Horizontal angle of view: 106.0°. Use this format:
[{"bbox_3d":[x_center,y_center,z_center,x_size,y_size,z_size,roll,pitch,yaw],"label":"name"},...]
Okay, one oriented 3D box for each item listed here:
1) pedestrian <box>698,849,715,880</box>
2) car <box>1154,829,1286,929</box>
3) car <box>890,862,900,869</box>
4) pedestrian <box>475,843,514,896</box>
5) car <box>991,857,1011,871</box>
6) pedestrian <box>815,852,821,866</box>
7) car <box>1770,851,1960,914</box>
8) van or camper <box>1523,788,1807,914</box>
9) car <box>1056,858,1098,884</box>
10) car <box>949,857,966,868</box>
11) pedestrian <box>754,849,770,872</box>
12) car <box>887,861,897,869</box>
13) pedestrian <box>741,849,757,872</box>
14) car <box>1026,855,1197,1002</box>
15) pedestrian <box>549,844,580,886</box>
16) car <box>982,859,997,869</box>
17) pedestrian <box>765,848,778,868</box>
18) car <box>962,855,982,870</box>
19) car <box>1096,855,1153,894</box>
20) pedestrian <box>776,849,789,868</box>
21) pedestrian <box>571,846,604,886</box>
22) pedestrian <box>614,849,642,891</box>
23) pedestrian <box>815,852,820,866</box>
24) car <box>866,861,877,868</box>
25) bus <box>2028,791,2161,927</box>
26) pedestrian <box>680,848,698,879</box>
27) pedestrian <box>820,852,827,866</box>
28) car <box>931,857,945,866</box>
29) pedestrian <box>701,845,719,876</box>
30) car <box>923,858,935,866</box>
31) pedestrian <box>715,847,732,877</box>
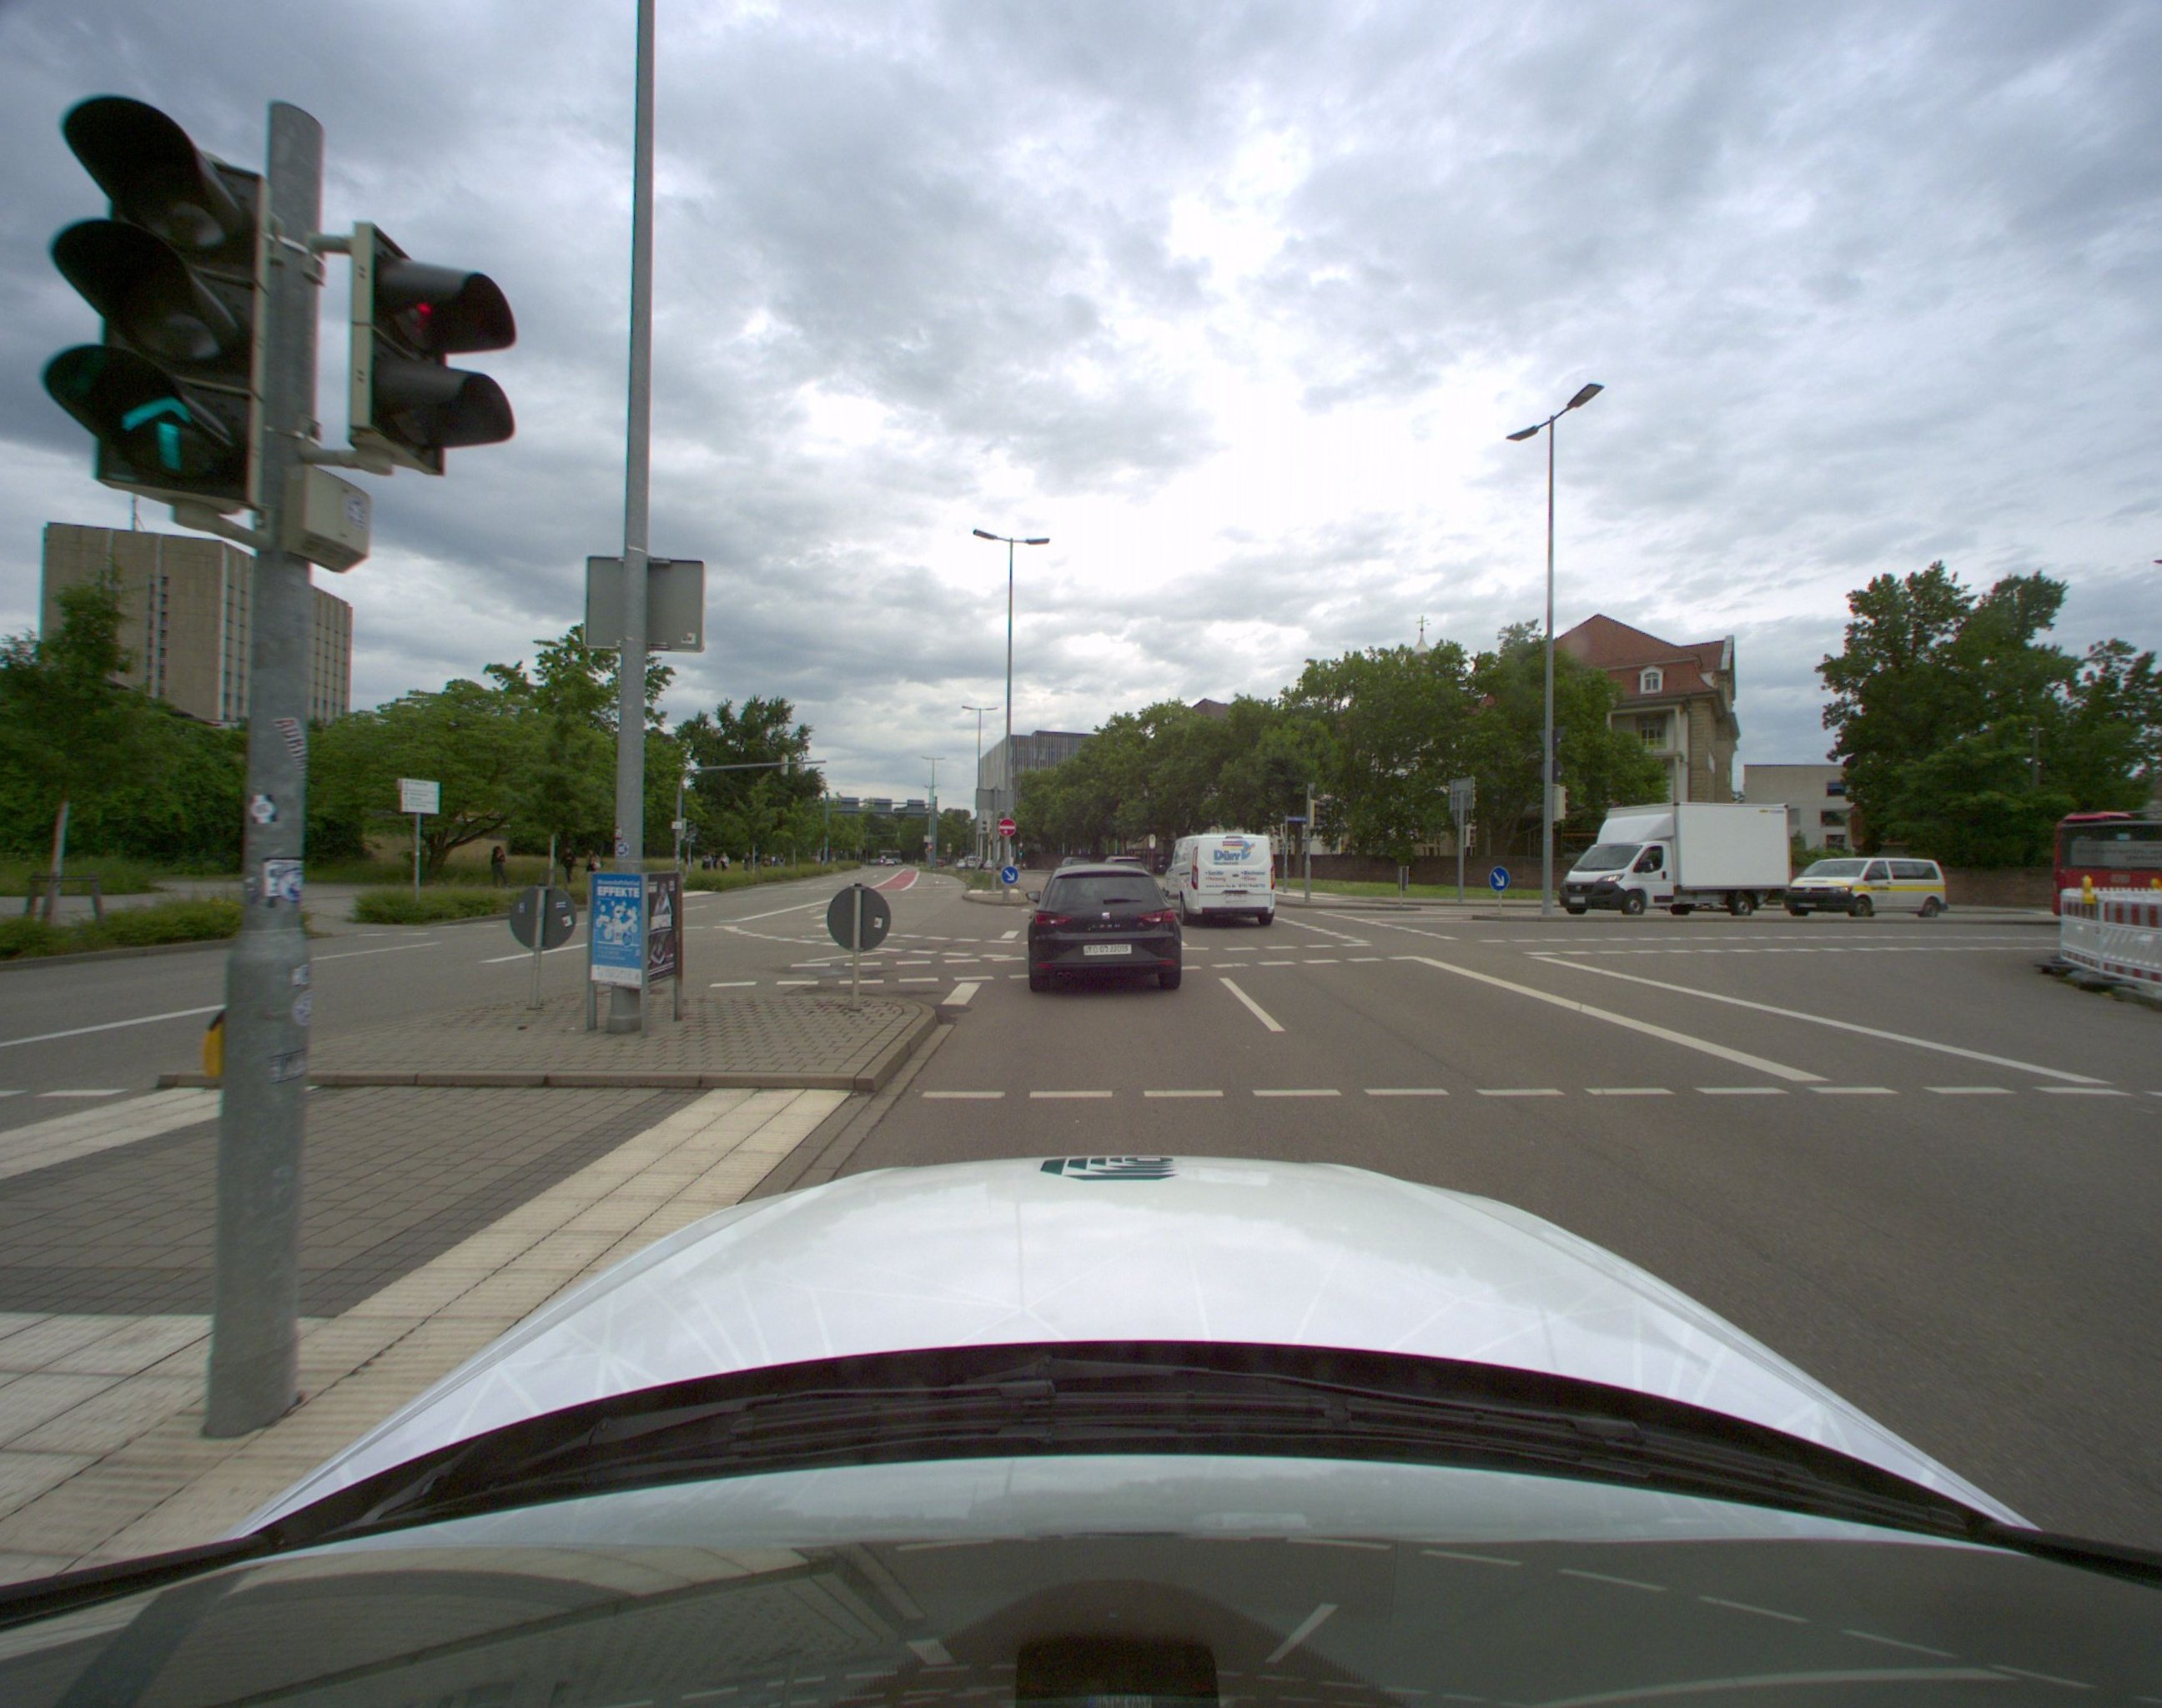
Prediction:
[{"bbox_3d":[-22.616,0.616,49.165,0.712,1.870,0.756,1,0,-5],"label":"pedestrian"},{"bbox_3d":[3.081,0.517,19.201,1.989,2.019,5.025,1,0,-3],"label":"car"},{"bbox_3d":[-45.825,2.816,200.576,2.001,1.780,3.971,1,0,-22],"label":"car"},{"bbox_3d":[-22.678,0.598,31.513,0.753,2.014,1.046,1,0,-2],"label":"pedestrian"},{"bbox_3d":[-10.532,1.291,106.811,1.921,1.684,3.979,1,0,-16],"label":"car"},{"bbox_3d":[-38.007,0.735,117.592,0.666,2.014,0.594,1,-1,-5],"label":"pedestrian"},{"bbox_3d":[24.832,0.920,25.846,4.996,1.865,1.990,1,-3,-15],"label":"car"},{"bbox_3d":[16.999,-0.008,23.815,7.140,3.332,2.862,1,-2,-15],"label":"van or camper"},{"bbox_3d":[-0.331,1.081,53.203,1.994,1.566,4.189,1,0,-11],"label":"car"},{"bbox_3d":[-19.445,1.366,128.431,1.999,1.640,3.976,1,0,-18],"label":"car"},{"bbox_3d":[-24.933,0.504,63.617,0.918,1.779,1.060,1,0,-10],"label":"pedestrian"},{"bbox_3d":[-37.990,2.213,163.399,1.691,1.416,3.621,1,0,-18],"label":"car"},{"bbox_3d":[-25.863,0.477,63.441,0.918,1.779,1.060,1,0,-10],"label":"pedestrian"},{"bbox_3d":[0.211,0.826,10.550,1.742,1.464,3.994,-2,-1,-4],"label":"car"},{"bbox_3d":[-22.256,0.473,35.091,0.753,1.765,0.905,1,0,-2],"label":"pedestrian"},{"bbox_3d":[-13.238,1.479,117.884,1.529,1.365,2.951,1,0,-18],"label":"car"},{"bbox_3d":[-28.061,0.399,73.917,0.918,1.779,1.060,1,-1,-10],"label":"pedestrian"},{"bbox_3d":[-14.968,1.113,111.705,1.998,2.014,3.977,1,0,-17],"label":"car"},{"bbox_3d":[1.881,0.880,36.343,1.856,1.600,4.195,1,0,-7],"label":"car"},{"bbox_3d":[-27.146,0.408,74.109,0.918,1.779,1.060,1,0,-10],"label":"pedestrian"},{"bbox_3d":[-21.427,0.528,35.371,0.753,1.712,1.046,1,0,-2],"label":"pedestrian"},{"bbox_3d":[-21.718,0.755,39.084,0.753,2.014,1.046,1,0,-2],"label":"pedestrian"},{"bbox_3d":[-40.081,0.789,123.856,0.470,2.156,0.474,1,-1,-6],"label":"pedestrian"},{"bbox_3d":[-47.955,2.361,186.371,1.887,1.416,3.825,1,0,-24],"label":"car"},{"bbox_3d":[31.721,0.232,22.464,12.376,3.298,3.049,1,0,-19],"label":"bus"},{"bbox_3d":[-23.603,0.584,49.049,0.713,1.870,0.756,1,0,-6],"label":"pedestrian"},{"bbox_3d":[-35.976,0.686,113.707,0.721,2.014,0.781,1,-1,-5],"label":"pedestrian"},{"bbox_3d":[-27.327,1.401,155.472,2.001,1.682,3.982,1,0,-21],"label":"car"},{"bbox_3d":[-24.487,0.455,53.718,0.754,2.014,1.045,1,0,-6],"label":"pedestrian"},{"bbox_3d":[-27.359,1.415,146.650,1.716,1.265,3.319,1,0,-19],"label":"car"},{"bbox_3d":[-23.693,0.523,53.971,0.754,2.014,1.045,1,0,-6],"label":"pedestrian"}]
